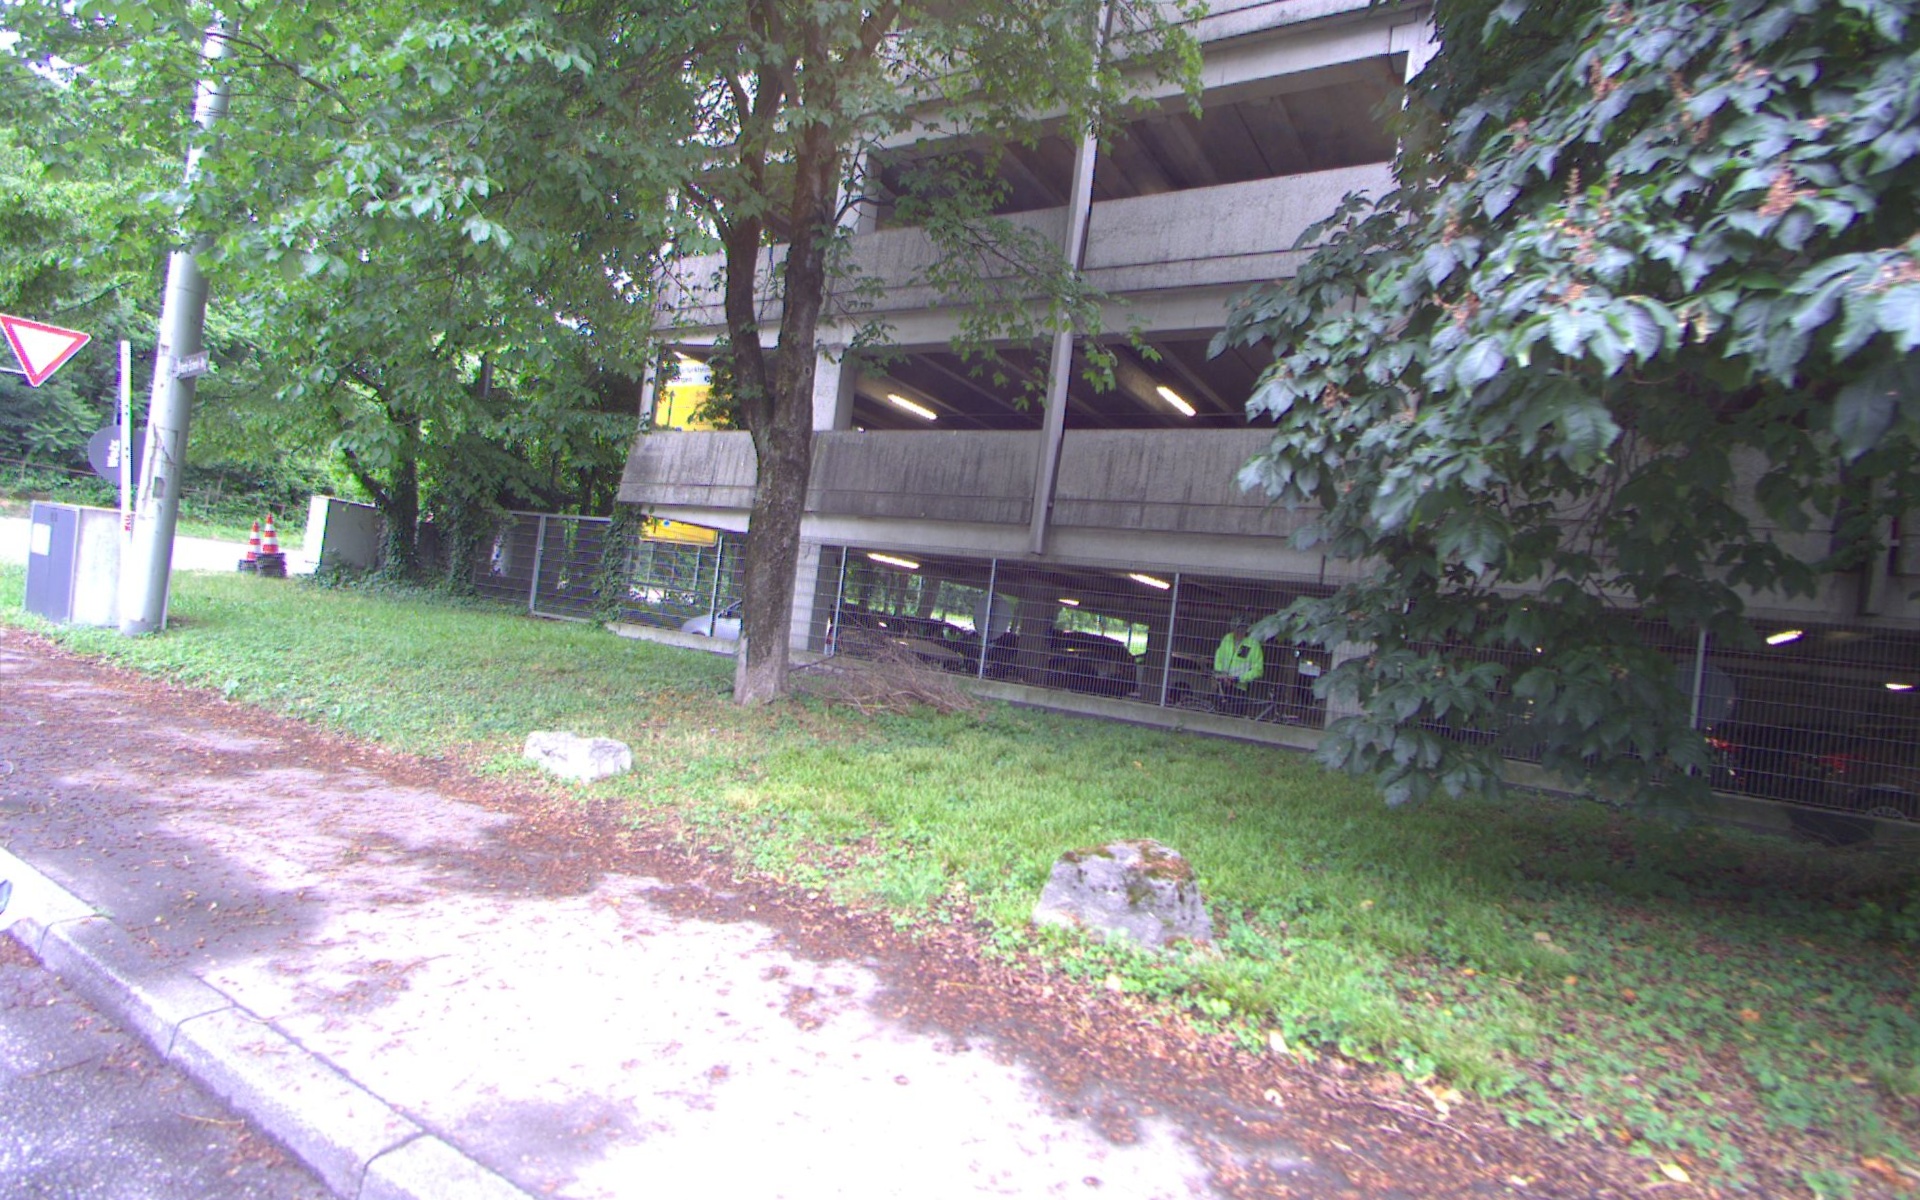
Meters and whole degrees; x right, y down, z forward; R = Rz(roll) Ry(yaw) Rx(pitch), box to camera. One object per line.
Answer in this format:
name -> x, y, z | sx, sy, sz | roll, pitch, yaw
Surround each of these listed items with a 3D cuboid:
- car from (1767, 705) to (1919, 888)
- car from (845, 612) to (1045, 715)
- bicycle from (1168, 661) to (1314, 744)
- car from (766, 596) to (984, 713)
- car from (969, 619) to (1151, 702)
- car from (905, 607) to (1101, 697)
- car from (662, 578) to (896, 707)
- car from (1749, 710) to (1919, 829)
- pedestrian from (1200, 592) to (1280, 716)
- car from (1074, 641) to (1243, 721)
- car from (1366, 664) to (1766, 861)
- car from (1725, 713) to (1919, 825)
car -> 12.725, 2.582, 12.438 | 3.936, 2.036, 1.997 | 5, -3, 33
car -> -0.324, 1.301, 20.856 | 3.658, 1.682, 1.734 | 5, -3, 32
bicycle -> 3.166, 1.148, 11.354 | 1.469, 0.744, 0.448 | 5, -3, 24
car -> -1.620, 0.997, 18.801 | 3.708, 1.727, 1.584 | 5, -3, 32
car -> 2.495, 1.495, 25.132 | 3.934, 1.569, 1.998 | 5, -3, 32
car -> 0.972, 1.194, 23.193 | 3.934, 1.569, 1.998 | 5, -3, 32
car -> -3.068, 0.687, 16.876 | 3.658, 1.727, 1.484 | 5, -3, 32
car -> 15.449, 2.855, 16.475 | 3.640, 1.625, 1.721 | 5, -3, 30
pedestrian -> 3.241, 0.631, 11.624 | 0.626, 1.332, 0.642 | 5, -3, 31
car -> 6.195, 2.520, 31.526 | 4.659, 1.855, 1.923 | 6, -3, 33
car -> 8.674, 2.246, 14.808 | 4.597, 2.036, 1.998 | 5, -3, 31
car -> 16.644, 3.156, 18.628 | 3.640, 1.625, 1.721 | 5, -3, 30
